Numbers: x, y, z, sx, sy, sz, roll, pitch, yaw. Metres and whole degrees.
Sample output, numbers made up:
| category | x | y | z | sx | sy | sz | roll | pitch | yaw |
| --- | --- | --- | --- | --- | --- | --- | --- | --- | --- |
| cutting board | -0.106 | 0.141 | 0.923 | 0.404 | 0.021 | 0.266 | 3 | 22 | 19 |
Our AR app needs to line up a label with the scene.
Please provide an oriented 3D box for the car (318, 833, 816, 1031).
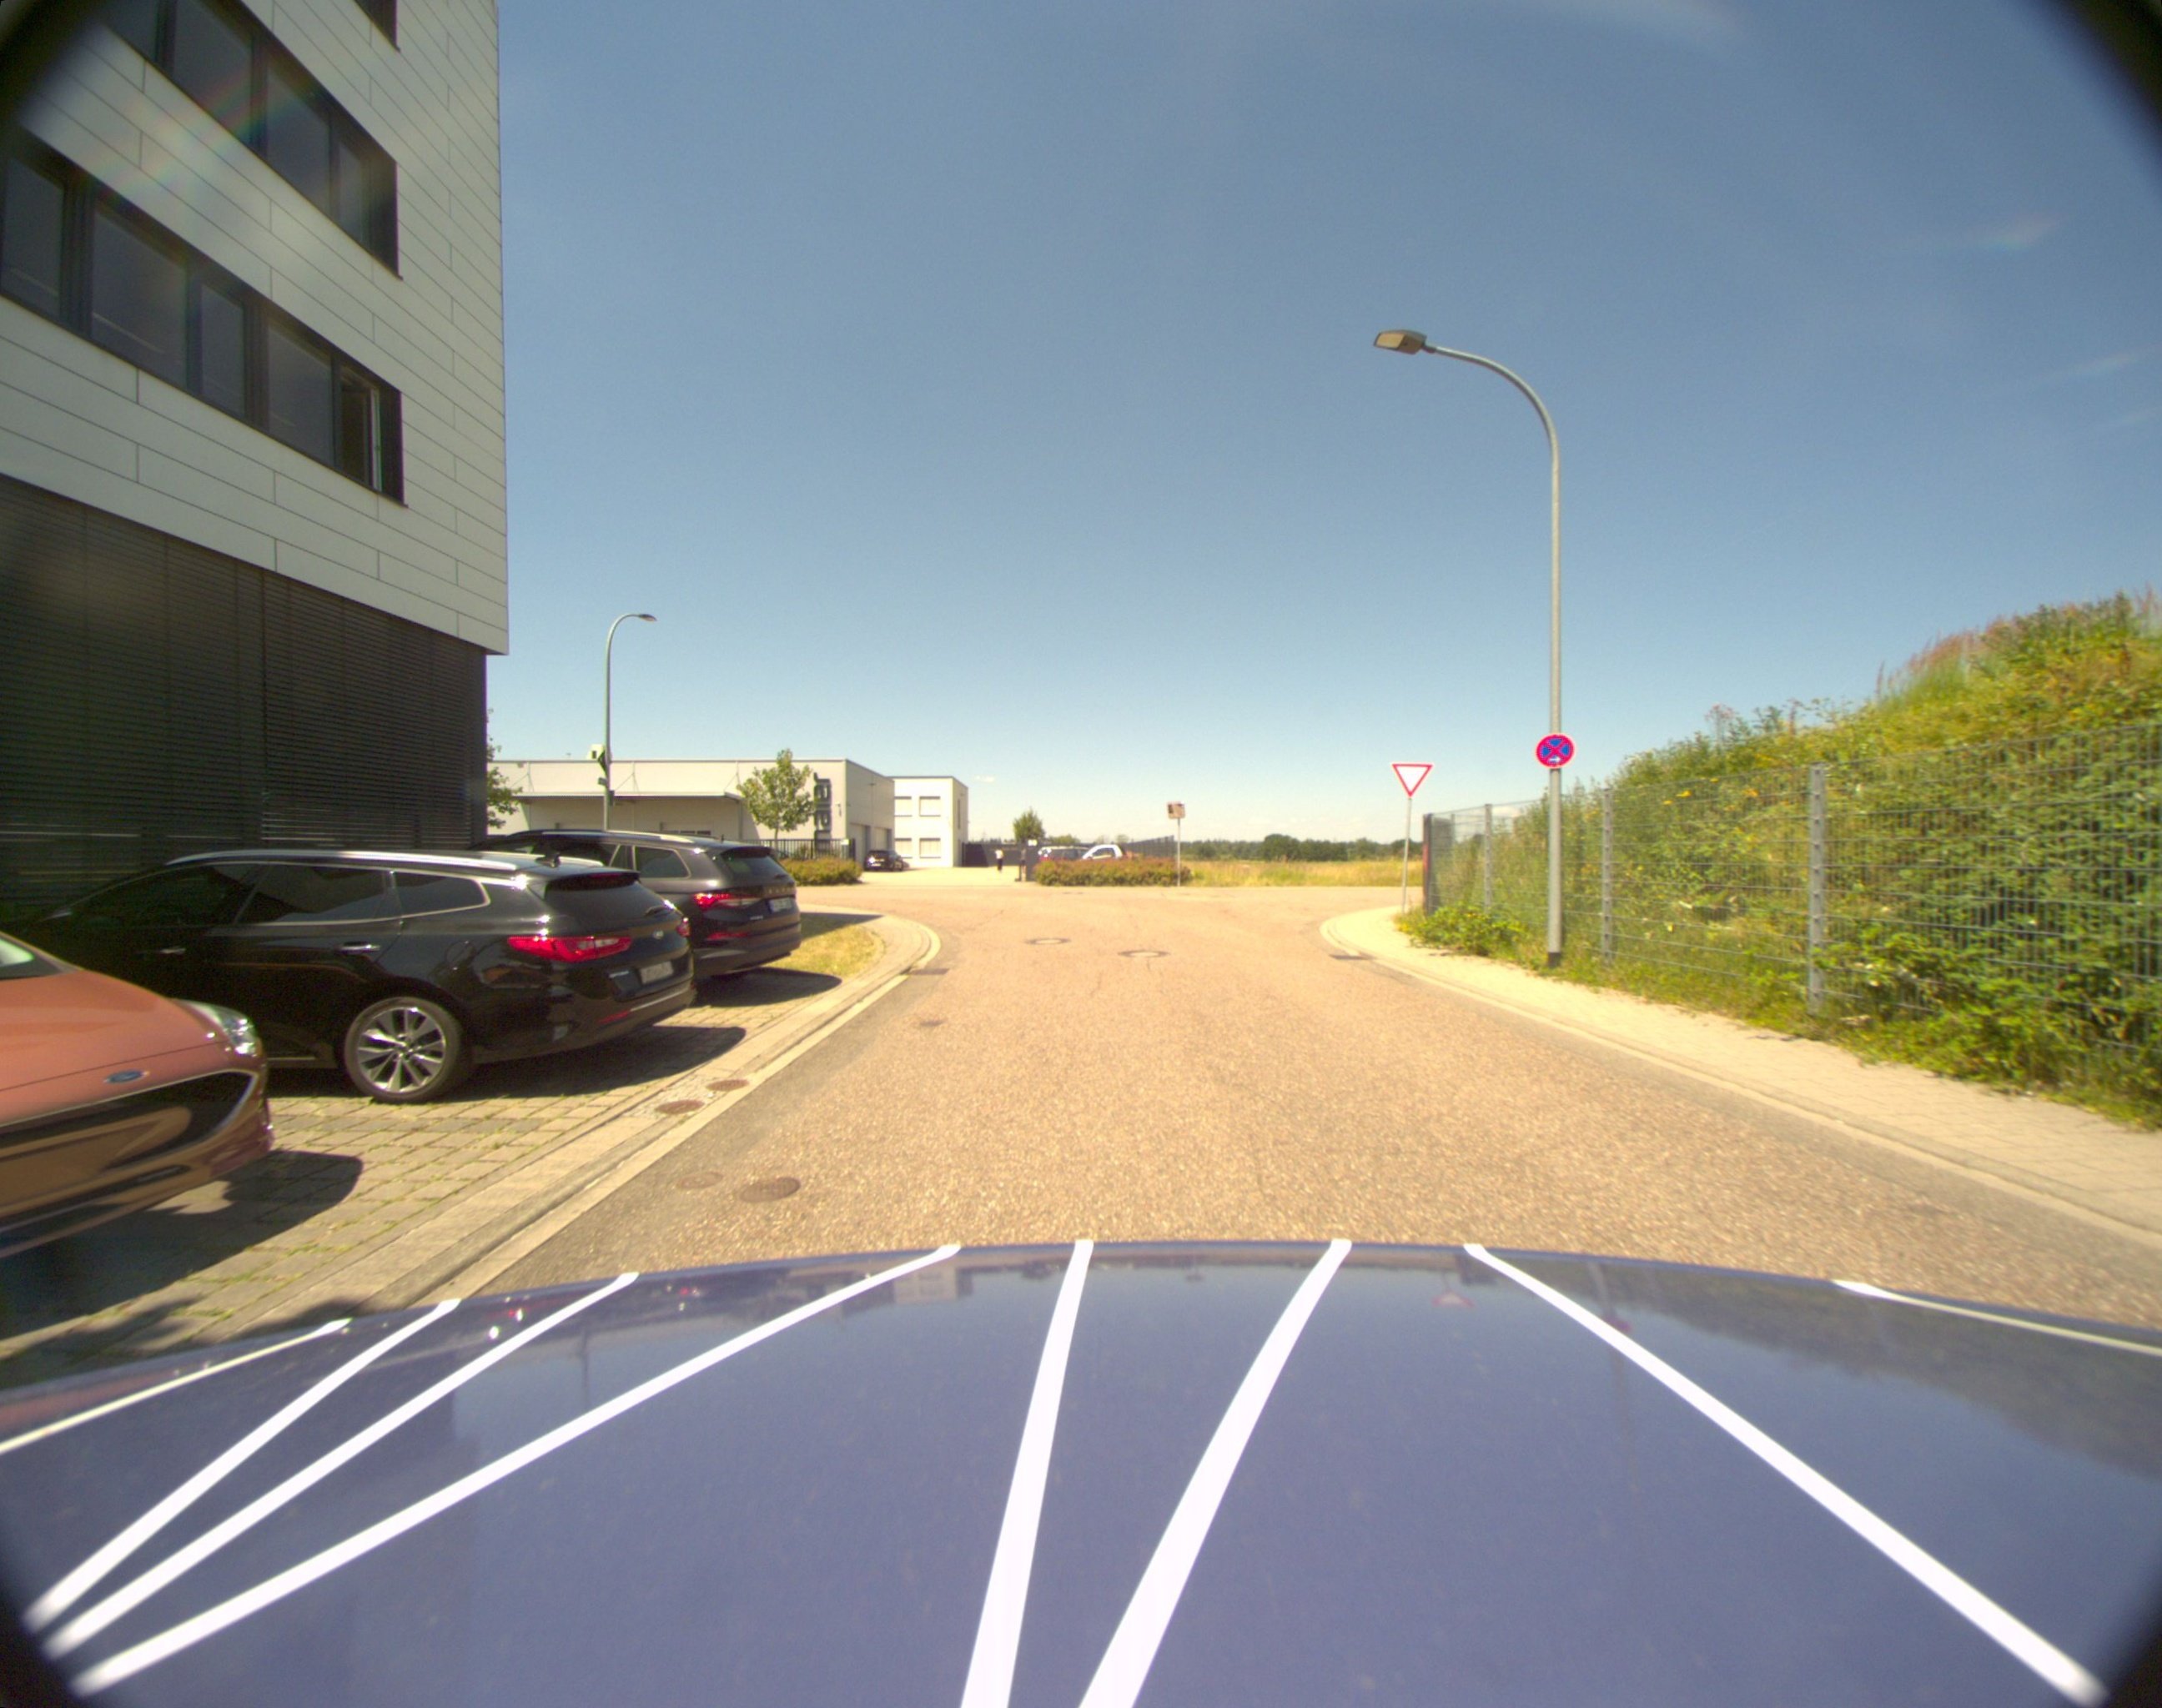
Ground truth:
| category | x | y | z | sx | sy | sz | roll | pitch | yaw |
| --- | --- | --- | --- | --- | --- | --- | --- | --- | --- |
| car | -5.045 | 0.699 | 7.826 | 3.996 | 1.755 | 1.725 | 1 | 1 | 3 |

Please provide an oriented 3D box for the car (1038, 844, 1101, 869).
| category | x | y | z | sx | sy | sz | roll | pitch | yaw |
| --- | --- | --- | --- | --- | --- | --- | --- | --- | --- |
| car | -0.799 | 0.145 | 49.304 | 3.998 | 1.596 | 1.676 | -1 | 0 | -4 |

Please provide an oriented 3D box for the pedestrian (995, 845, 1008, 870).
| category | x | y | z | sx | sy | sz | roll | pitch | yaw |
| --- | --- | --- | --- | --- | --- | --- | --- | --- | --- |
| pedestrian | -5.253 | 0.228 | 50.043 | 0.775 | 1.620 | 0.620 | -1 | 1 | -15 |

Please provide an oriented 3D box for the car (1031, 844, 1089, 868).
| category | x | y | z | sx | sy | sz | roll | pitch | yaw |
| --- | --- | --- | --- | --- | --- | --- | --- | --- | --- |
| car | -1.520 | 0.151 | 53.719 | 3.998 | 1.596 | 1.676 | 1 | 1 | -4 |

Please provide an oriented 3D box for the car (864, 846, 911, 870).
| category | x | y | z | sx | sy | sz | roll | pitch | yaw |
| --- | --- | --- | --- | --- | --- | --- | --- | --- | --- |
| car | -11.865 | 0.207 | 46.782 | 1.796 | 1.412 | 3.870 | 0 | 1 | 1 |

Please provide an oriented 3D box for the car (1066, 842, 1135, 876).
| category | x | y | z | sx | sy | sz | roll | pitch | yaw |
| --- | --- | --- | --- | --- | --- | --- | --- | --- | --- |
| car | 0.864 | 0.221 | 34.985 | 2.996 | 1.511 | 1.705 | -1 | 0 | -4 |

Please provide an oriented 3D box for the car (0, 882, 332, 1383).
| category | x | y | z | sx | sy | sz | roll | pitch | yaw |
| --- | --- | --- | --- | --- | --- | --- | --- | --- | --- |
| car | -5.325 | 0.863 | 2.465 | 3.998 | 1.486 | 1.724 | 1 | 1 | -2 |

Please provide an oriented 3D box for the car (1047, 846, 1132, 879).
| category | x | y | z | sx | sy | sz | roll | pitch | yaw |
| --- | --- | --- | --- | --- | --- | --- | --- | --- | --- |
| car | 0.375 | 0.393 | 37.061 | 3.998 | 1.532 | 1.830 | -1 | 0 | -4 |

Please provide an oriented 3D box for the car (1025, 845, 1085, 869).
| category | x | y | z | sx | sy | sz | roll | pitch | yaw |
| --- | --- | --- | --- | --- | --- | --- | --- | --- | --- |
| car | -1.808 | 0.198 | 51.699 | 3.998 | 1.596 | 1.676 | -1 | 0 | -4 |

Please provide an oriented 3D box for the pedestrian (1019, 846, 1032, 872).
| category | x | y | z | sx | sy | sz | roll | pitch | yaw |
| --- | --- | --- | --- | --- | --- | --- | --- | --- | --- |
| pedestrian | -3.587 | 0.298 | 49.151 | 0.830 | 1.673 | 0.711 | 0 | 1 | -9 |

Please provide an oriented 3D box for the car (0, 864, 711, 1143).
| category | x | y | z | sx | sy | sz | roll | pitch | yaw |
| --- | --- | --- | --- | --- | --- | --- | --- | --- | --- |
| car | -4.773 | 0.844 | 5.076 | 3.722 | 1.486 | 1.781 | 1 | 1 | -2 |

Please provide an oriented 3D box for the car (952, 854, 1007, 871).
| category | x | y | z | sx | sy | sz | roll | pitch | yaw |
| --- | --- | --- | --- | --- | --- | --- | --- | --- | --- |
| car | -7.842 | 0.654 | 59.045 | 3.997 | 1.302 | 1.999 | 0 | 1 | -1 |
